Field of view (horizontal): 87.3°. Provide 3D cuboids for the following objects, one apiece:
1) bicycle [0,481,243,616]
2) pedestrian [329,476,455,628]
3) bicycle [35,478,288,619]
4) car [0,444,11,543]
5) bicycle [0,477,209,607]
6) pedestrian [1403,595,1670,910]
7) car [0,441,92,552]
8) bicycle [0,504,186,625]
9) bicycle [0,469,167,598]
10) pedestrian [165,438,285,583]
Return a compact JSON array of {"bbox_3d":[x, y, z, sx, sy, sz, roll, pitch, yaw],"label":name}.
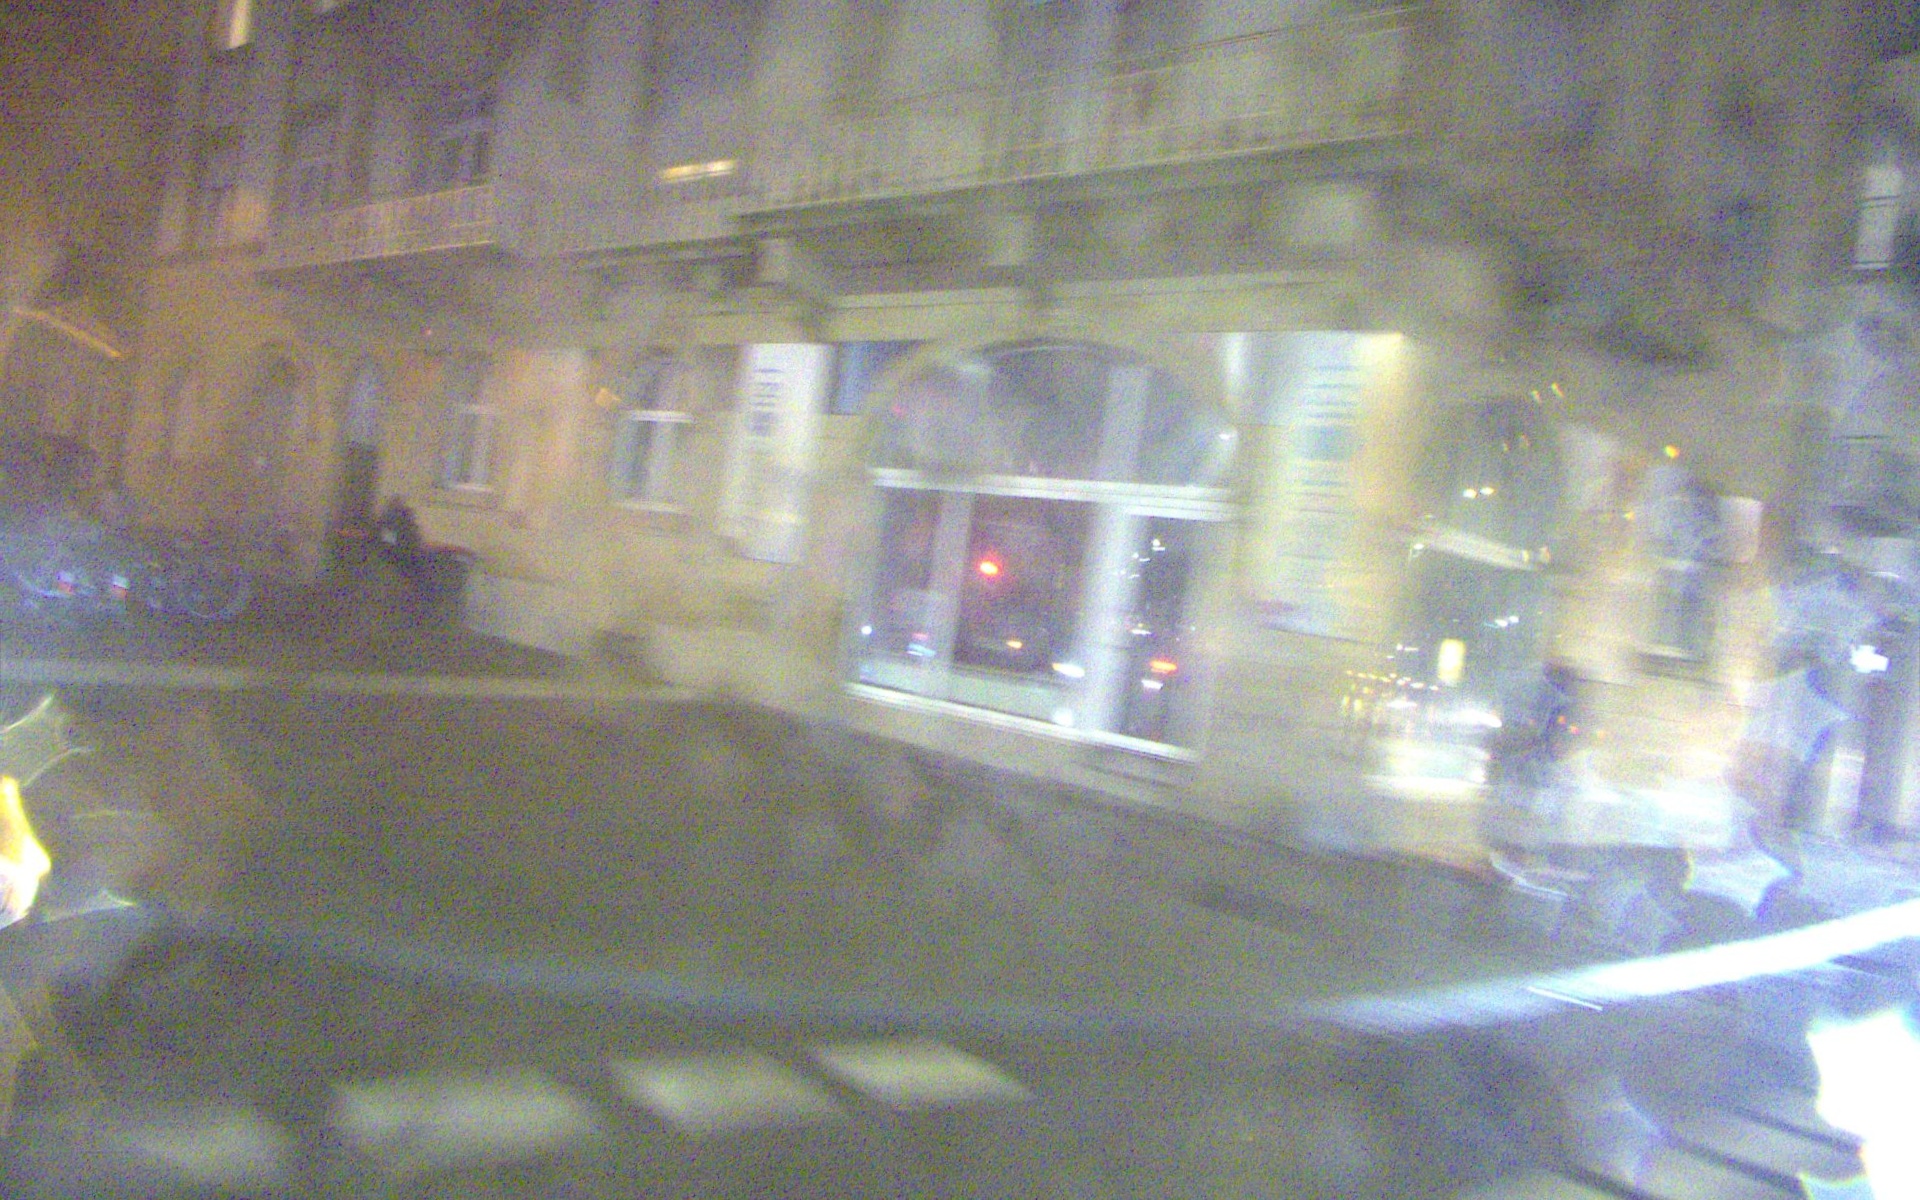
[{"bbox_3d":[-9.074,-0.517,10.978,0.585,1.268,1.899,8,2,27],"label":"bicycle"},{"bbox_3d":[-6.777,-0.570,12.009,0.983,1.638,0.782,9,2,33],"label":"pedestrian"},{"bbox_3d":[-8.299,-0.490,10.560,0.698,1.268,1.899,8,2,27],"label":"bicycle"},{"bbox_3d":[-16.288,-1.775,14.254,1.849,1.597,4.178,8,2,-6],"label":"car"},{"bbox_3d":[-9.725,-0.619,11.320,0.585,1.268,1.899,8,2,27],"label":"bicycle"},{"bbox_3d":[4.197,1.087,7.404,0.964,2.040,1.009,8,4,-23],"label":"pedestrian"},{"bbox_3d":[-13.838,-1.500,12.957,1.825,1.476,4.178,8,2,-6],"label":"car"},{"bbox_3d":[-10.297,-0.390,11.711,0.585,1.268,1.899,8,2,27],"label":"bicycle"},{"bbox_3d":[-10.756,-0.782,11.990,0.585,1.377,1.899,8,2,27],"label":"bicycle"},{"bbox_3d":[-10.718,-1.300,14.673,0.983,1.905,0.958,9,2,32],"label":"pedestrian"}]
